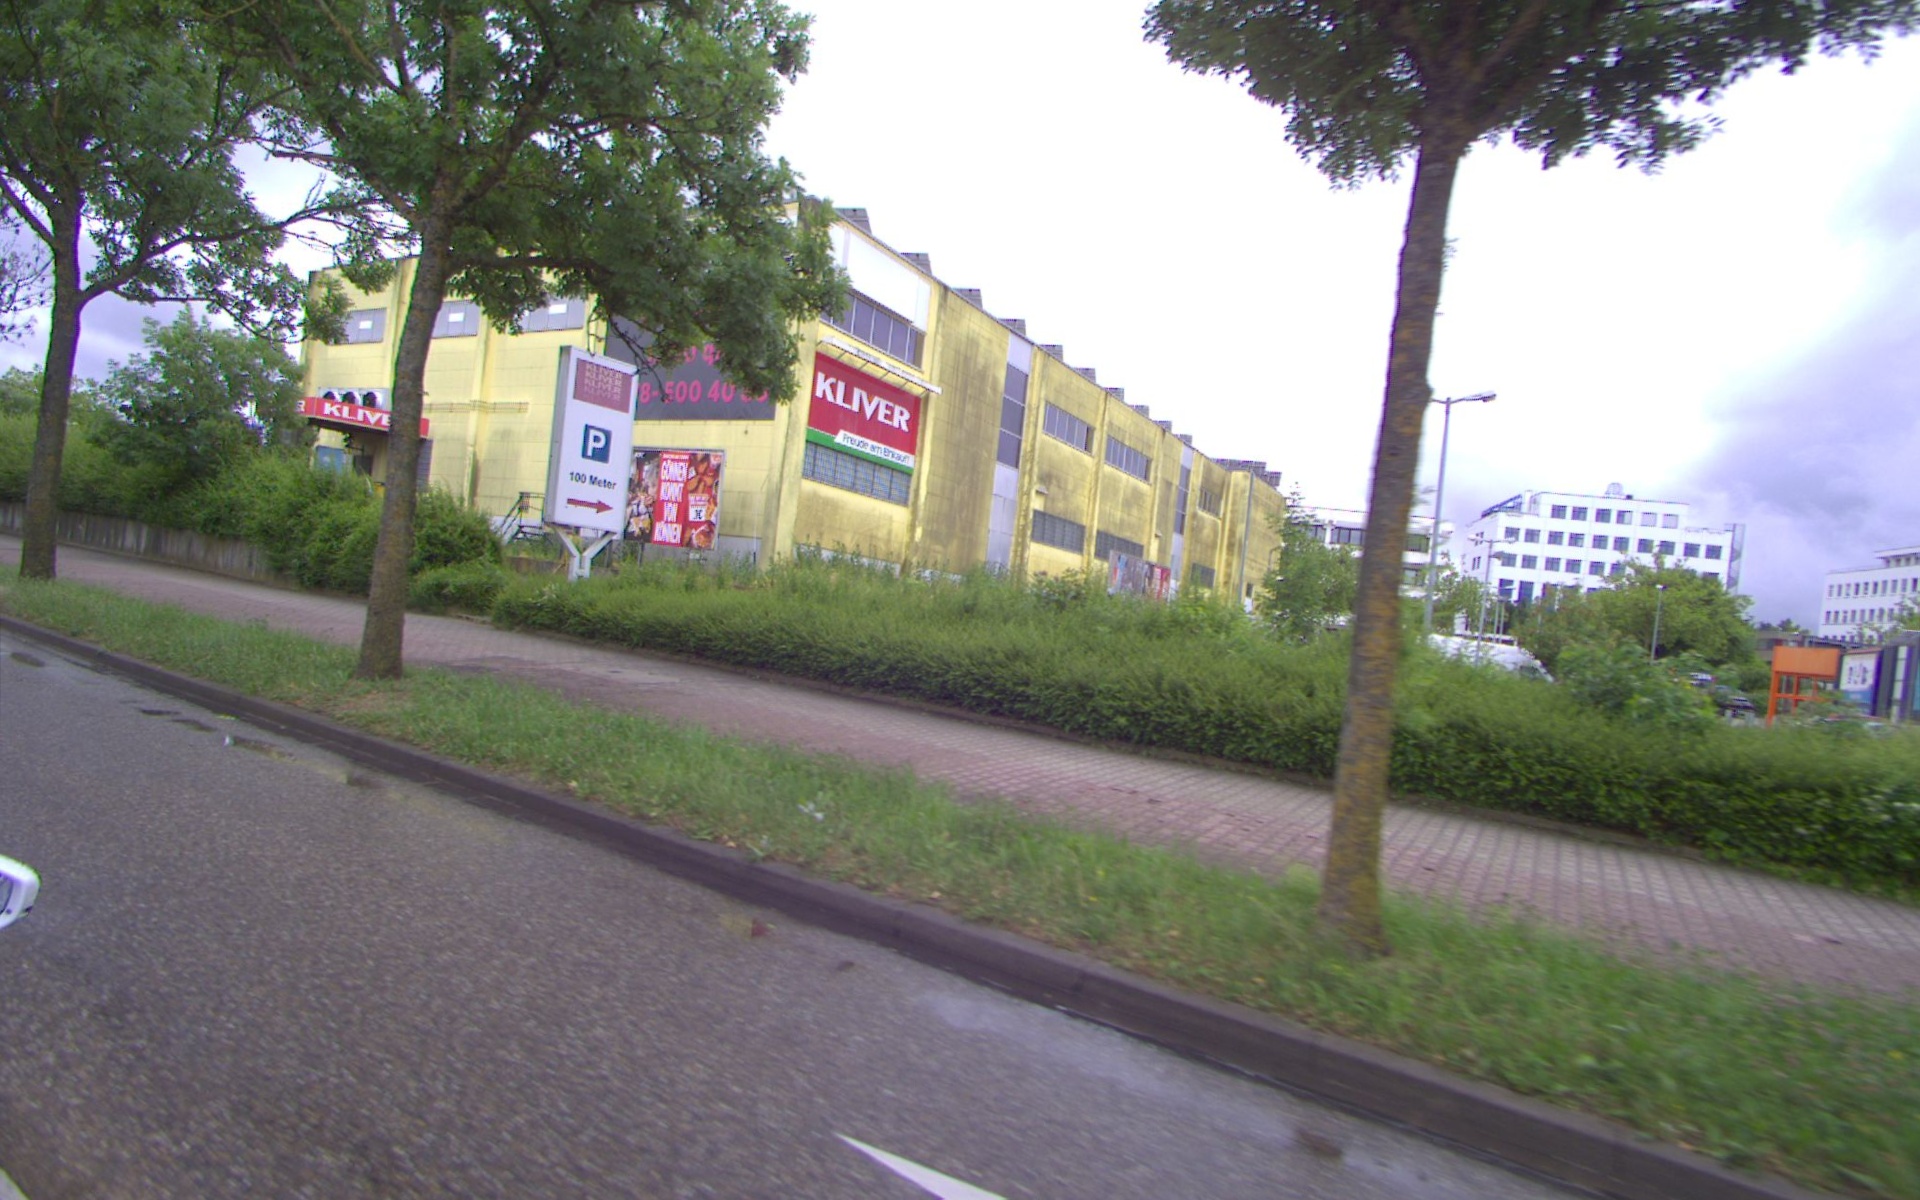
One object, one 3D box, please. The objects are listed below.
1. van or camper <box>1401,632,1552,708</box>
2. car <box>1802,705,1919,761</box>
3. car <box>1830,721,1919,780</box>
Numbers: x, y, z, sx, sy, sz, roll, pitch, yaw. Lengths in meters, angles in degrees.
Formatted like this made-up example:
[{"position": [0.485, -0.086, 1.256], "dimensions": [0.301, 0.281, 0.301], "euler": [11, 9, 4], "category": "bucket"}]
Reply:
[{"position": [20.256, 2.733, 39.486], "dimensions": [4.941, 2.282, 2.152], "euler": [7, 0, 32], "category": "van or camper"}, {"position": [35.779, 5.230, 39.081], "dimensions": [4.289, 1.593, 1.908], "euler": [7, -1, 29], "category": "car"}, {"position": [32.400, 5.243, 33.840], "dimensions": [4.289, 1.593, 1.908], "euler": [7, -1, 29], "category": "car"}]
